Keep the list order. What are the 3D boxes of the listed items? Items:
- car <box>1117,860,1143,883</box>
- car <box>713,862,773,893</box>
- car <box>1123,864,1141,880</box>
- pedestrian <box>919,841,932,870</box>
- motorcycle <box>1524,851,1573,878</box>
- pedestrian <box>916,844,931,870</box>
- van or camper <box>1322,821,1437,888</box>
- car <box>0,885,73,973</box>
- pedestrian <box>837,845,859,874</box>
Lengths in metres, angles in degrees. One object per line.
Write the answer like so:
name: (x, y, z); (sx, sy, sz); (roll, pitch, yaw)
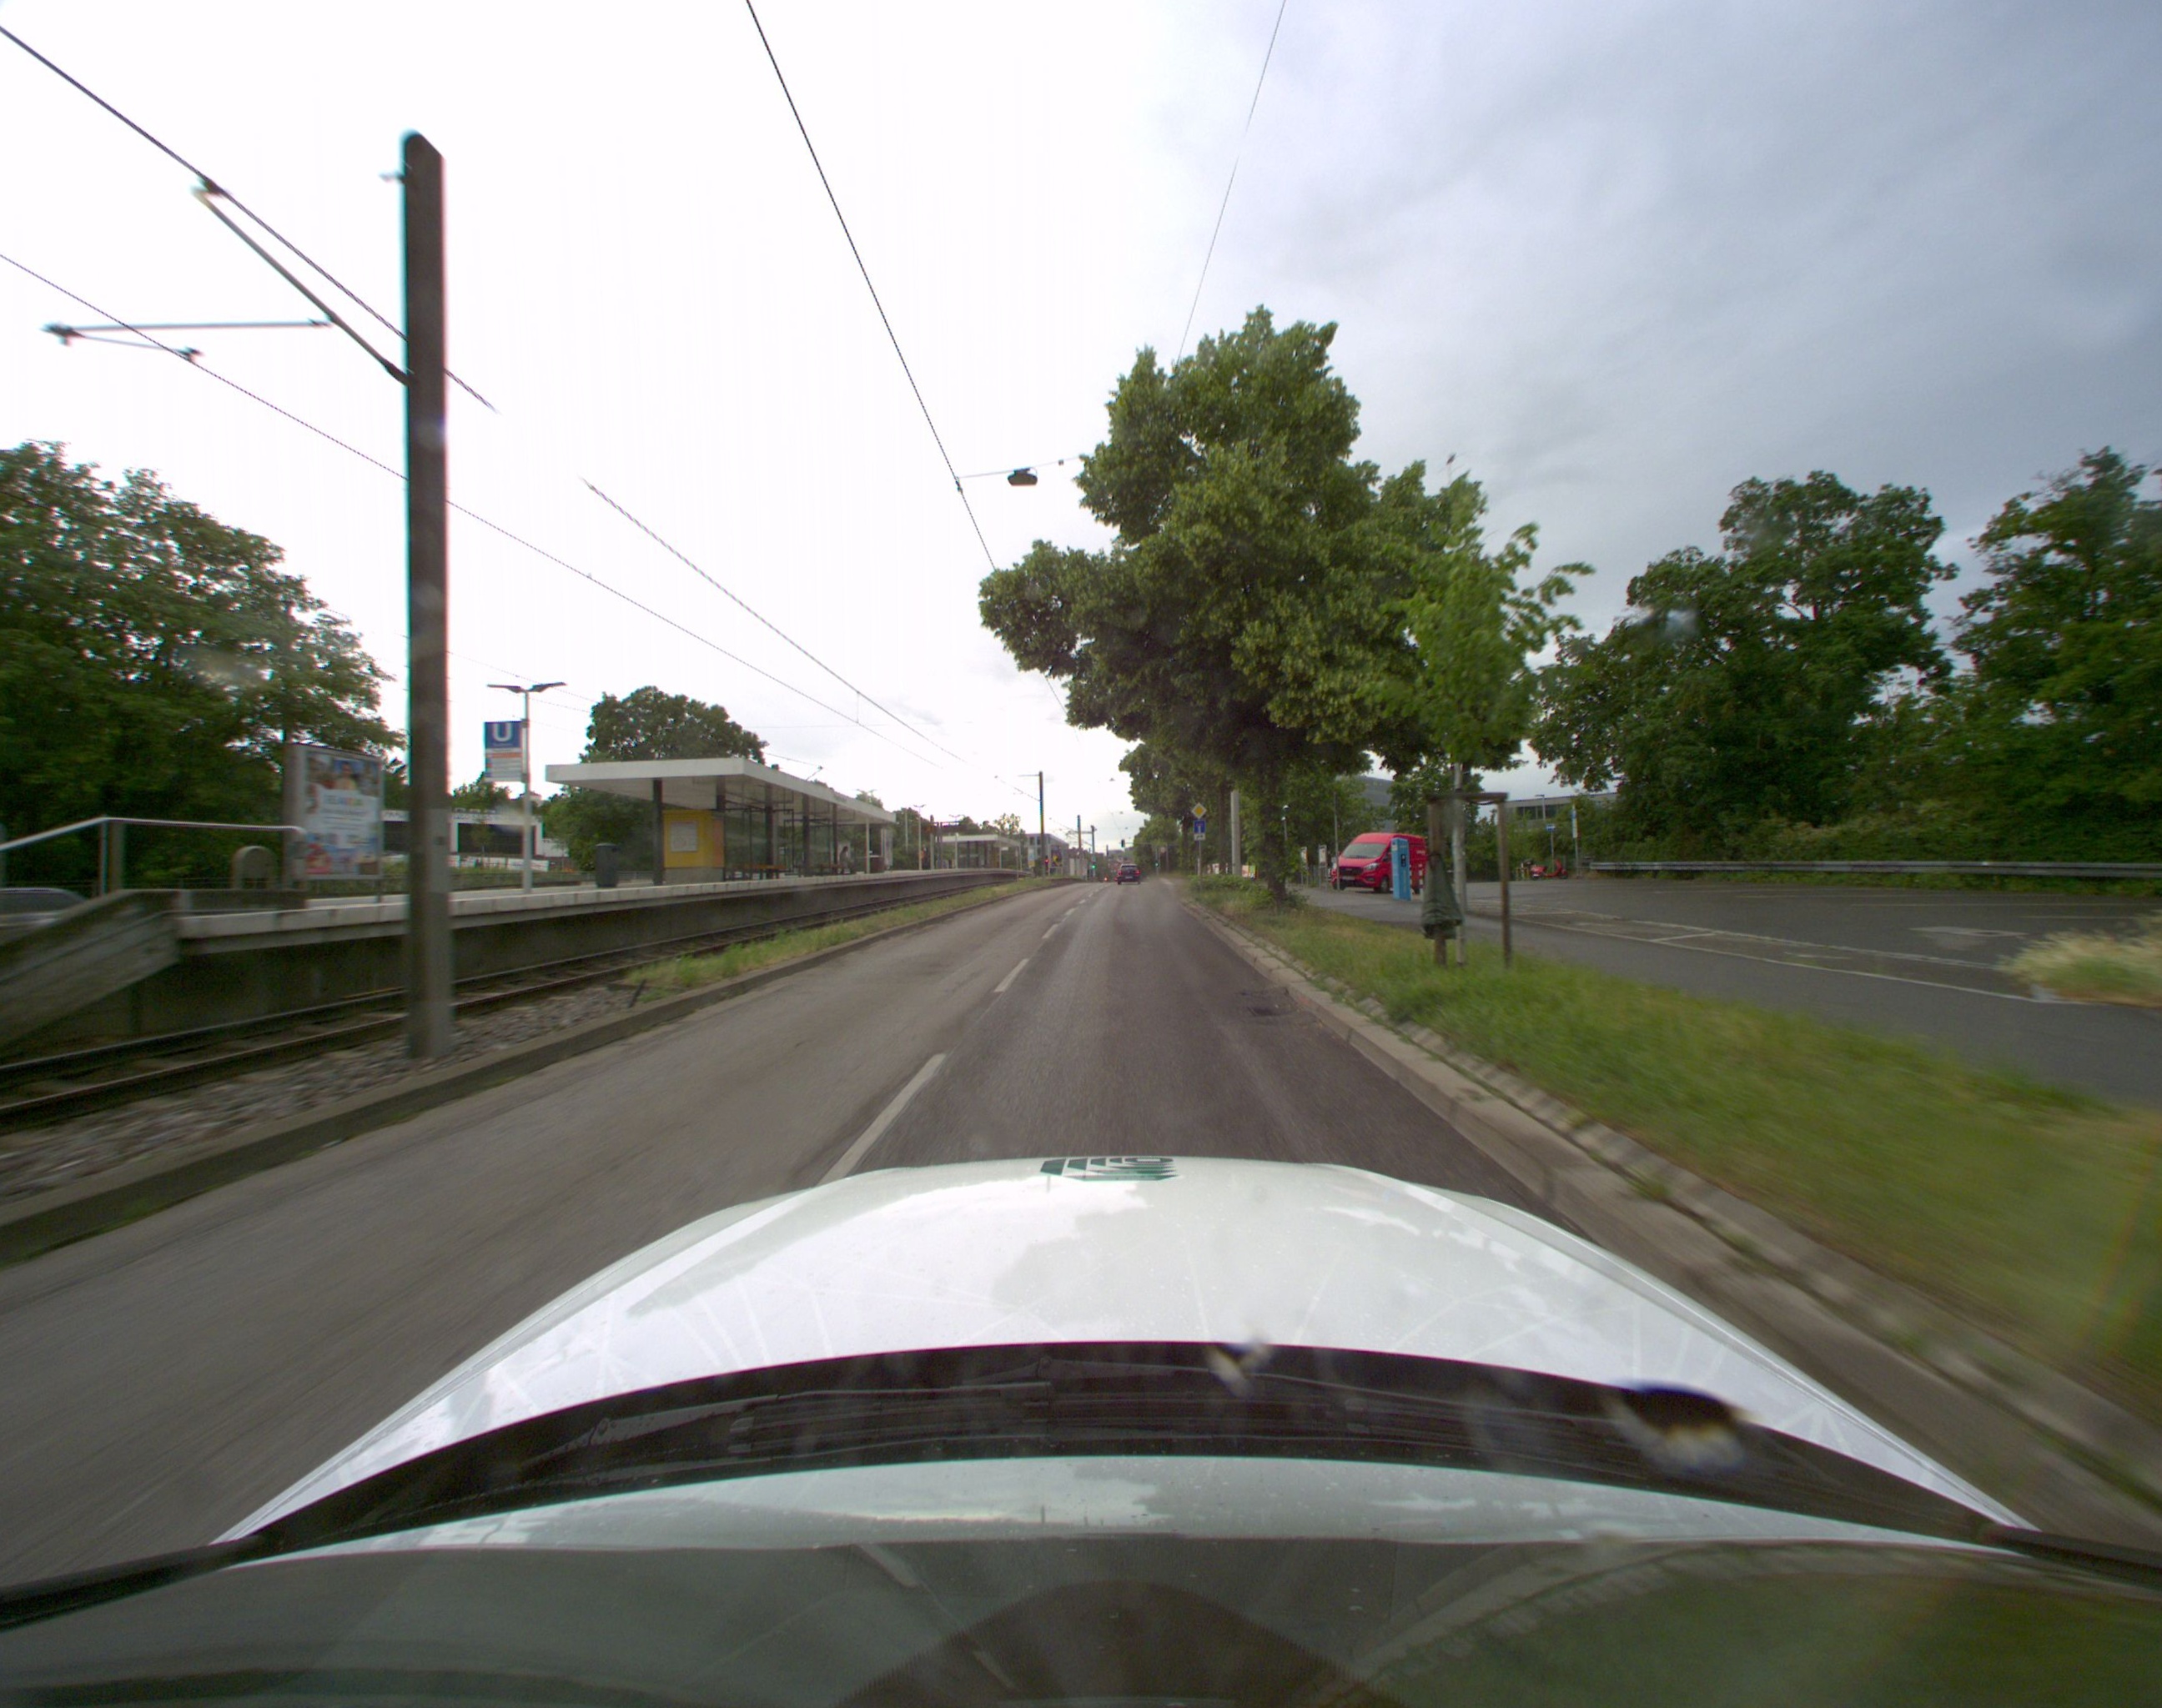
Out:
car: (3.526, 1.243, 59.514); (1.721, 1.540, 4.001); (-2, 0, 1)
car: (-22.441, 1.526, 54.292); (1.986, 1.876, 4.520); (-1, 0, 2)
car: (5.120, 1.783, 82.056); (1.681, 1.517, 4.003); (-2, 0, 2)
pedestrian: (-10.197, 0.078, 53.456); (0.745, 1.909, 0.837); (0, 1, -18)
motorcycle: (23.186, 0.527, 40.388); (1.998, 1.214, 0.476); (-6, -9, 42)
pedestrian: (-10.145, 0.158, 52.475); (0.797, 1.647, 0.913); (0, 1, -18)
van or camper: (11.681, 0.065, 31.654); (5.422, 2.406, 2.016); (2, 0, -45)
car: (-21.171, 1.430, 14.040); (1.988, 1.624, 4.515); (-1, 0, -1)
pedestrian: (-9.830, 0.227, 34.360); (0.707, 1.225, 0.620); (-1, -1, 3)
